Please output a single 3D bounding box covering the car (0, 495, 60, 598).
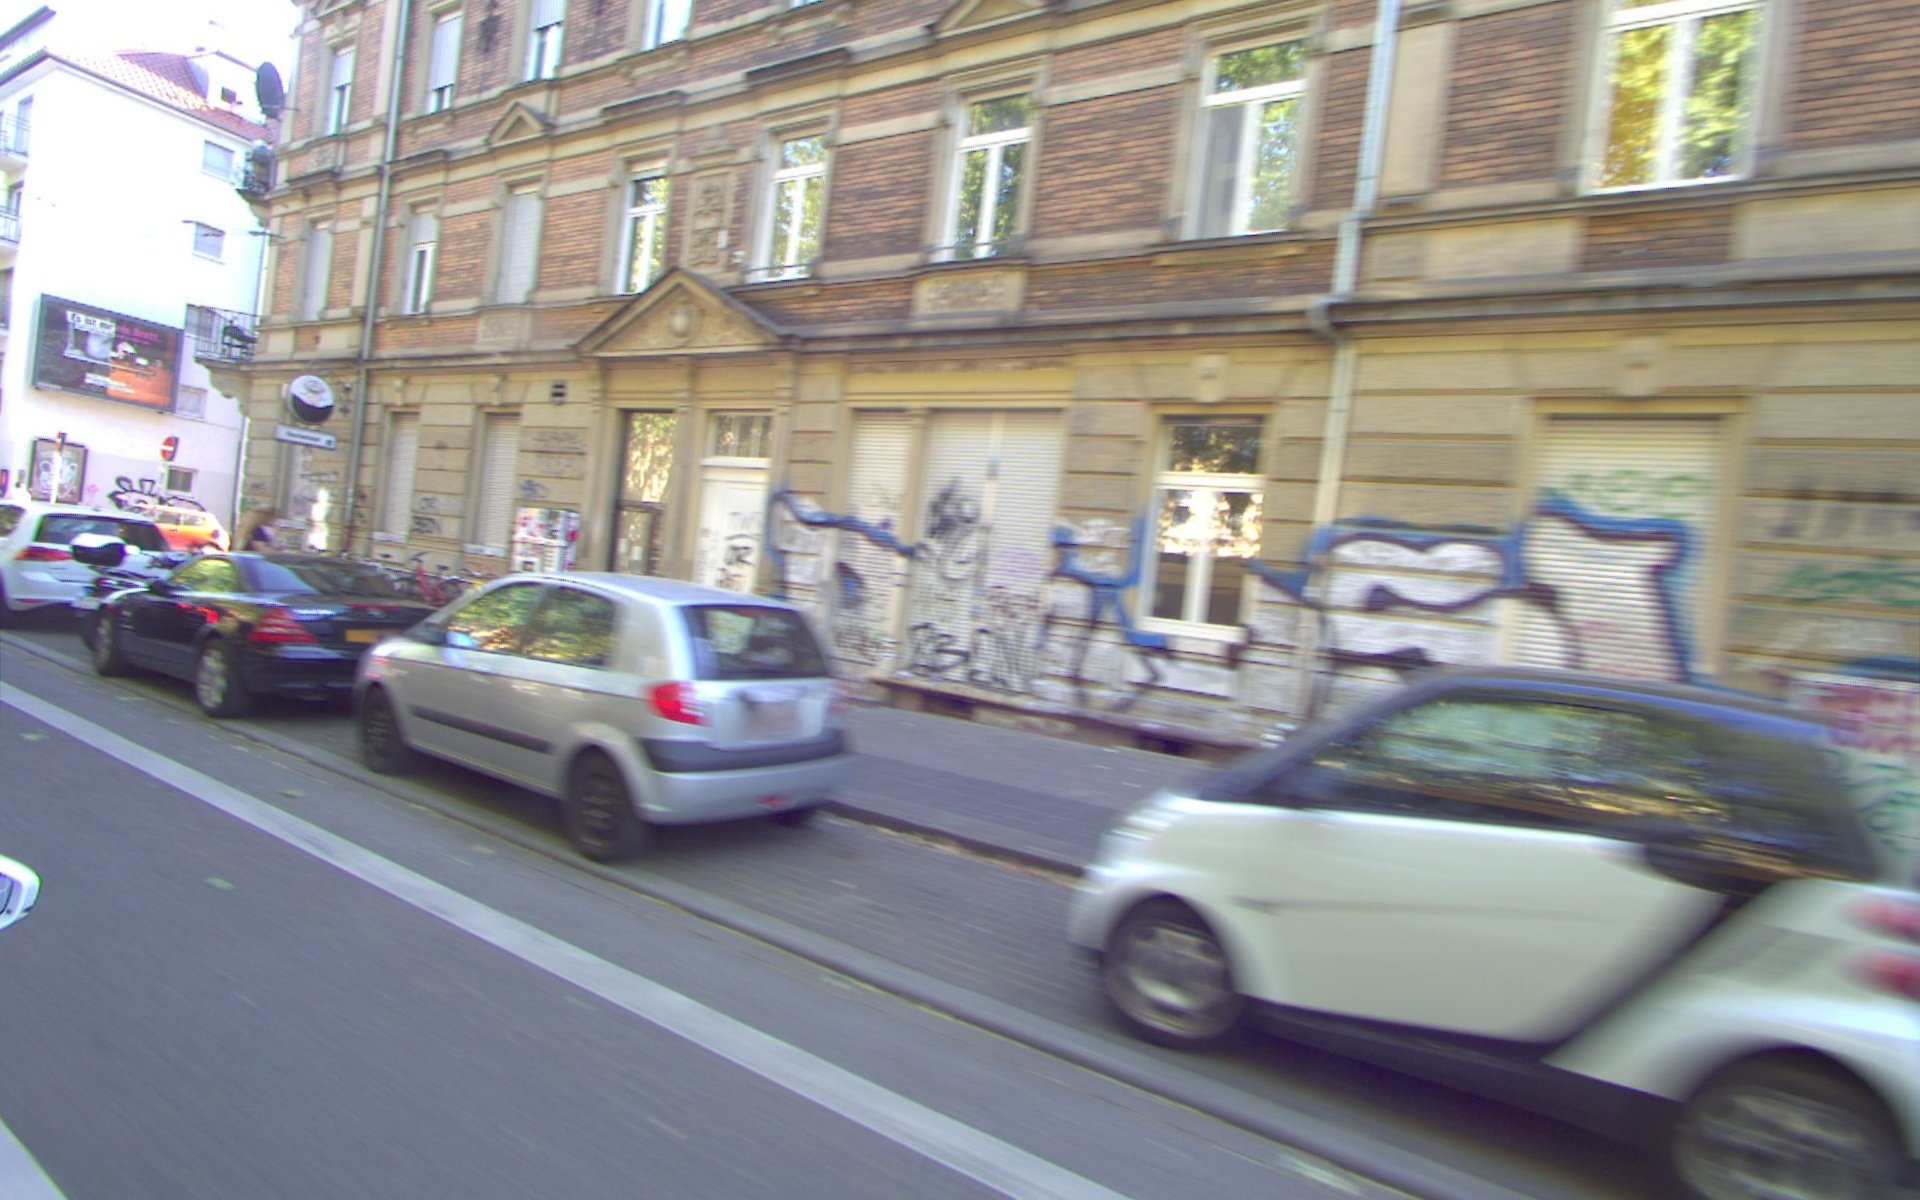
[{"bbox_3d":[-15.689,-0.969,15.609,3.995,1.439,1.648,7,2,35],"label":"car"}]

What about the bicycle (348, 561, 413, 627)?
[{"bbox_3d":[-10.259,-0.107,17.802,1.351,1.013,0.378,7,1,35],"label":"bicycle"}]

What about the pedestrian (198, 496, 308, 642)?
[{"bbox_3d":[-8.700,-0.373,12.387,0.705,1.677,0.764,7,0,33],"label":"pedestrian"}]

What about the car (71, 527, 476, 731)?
[{"bbox_3d":[-6.212,0.177,9.011,3.664,1.289,1.649,7,2,33],"label":"car"}]

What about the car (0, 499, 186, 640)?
[{"bbox_3d":[-11.448,-0.462,12.531,3.948,1.439,1.602,7,2,33],"label":"car"}]

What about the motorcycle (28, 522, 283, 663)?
[{"bbox_3d":[-8.537,-0.035,10.835,0.631,1.304,2.142,7,-1,11],"label":"motorcycle"}]

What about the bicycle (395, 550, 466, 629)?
[{"bbox_3d":[-8.901,-0.188,16.884,1.351,1.168,0.378,7,1,35],"label":"bicycle"}]

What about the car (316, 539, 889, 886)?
[{"bbox_3d":[-2.458,0.521,6.584,3.681,1.471,1.605,7,2,35],"label":"car"}]

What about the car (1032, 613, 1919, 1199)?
[{"bbox_3d":[1.915,0.978,3.851,2.774,1.564,1.510,7,3,33],"label":"car"}]

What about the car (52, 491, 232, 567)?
[{"bbox_3d":[-23.409,-2.003,28.887,1.763,1.593,3.649,7,-1,38],"label":"car"}]

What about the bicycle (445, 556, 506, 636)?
[{"bbox_3d":[-7.817,-0.075,16.219,1.121,1.168,0.273,7,1,35],"label":"bicycle"}]

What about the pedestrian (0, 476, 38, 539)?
[{"bbox_3d":[-25.980,-2.555,27.632,0.918,1.599,0.632,7,-1,35],"label":"pedestrian"}]
